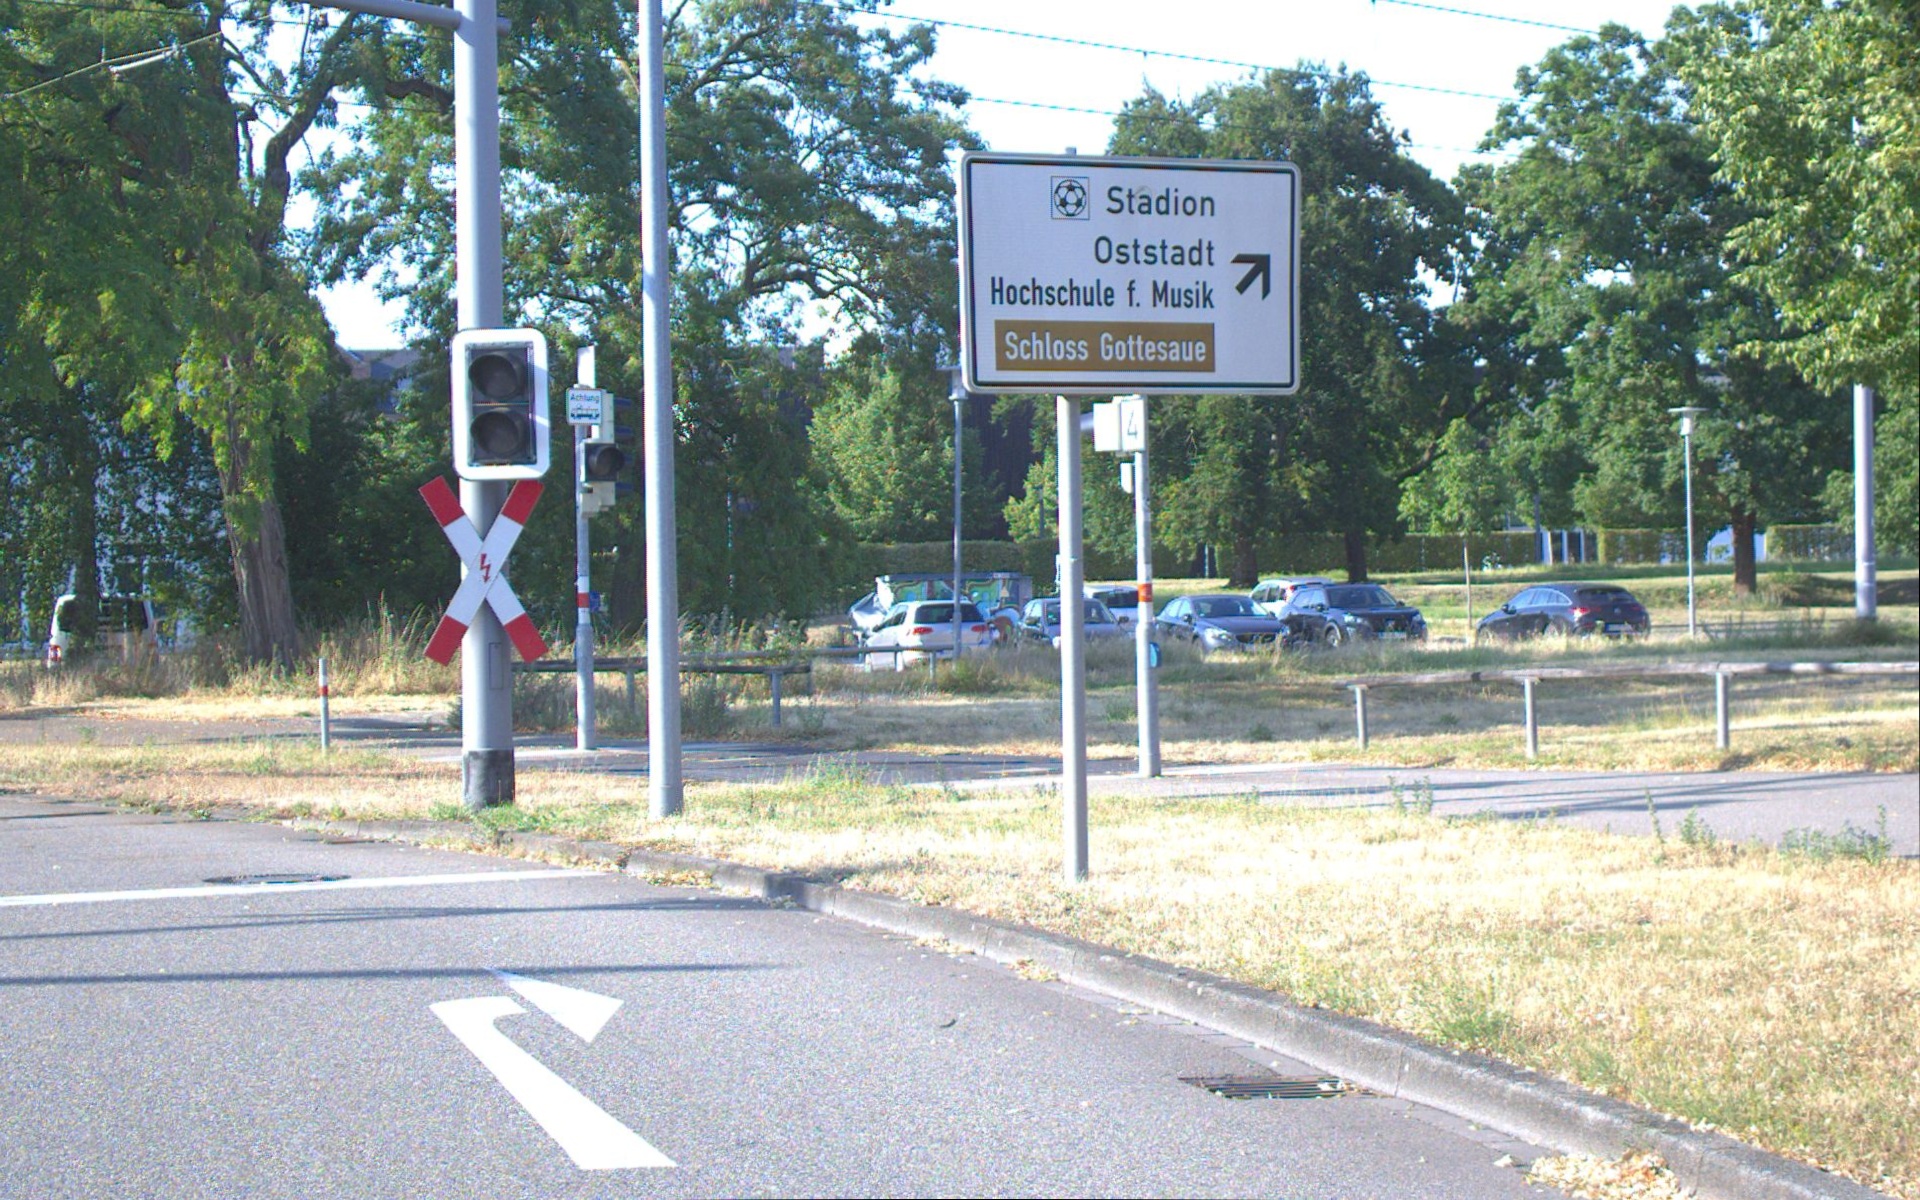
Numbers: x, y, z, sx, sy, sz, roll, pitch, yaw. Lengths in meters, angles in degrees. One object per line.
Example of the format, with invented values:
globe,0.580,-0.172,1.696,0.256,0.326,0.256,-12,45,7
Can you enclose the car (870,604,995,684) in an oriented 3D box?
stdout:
car,-0.535,0.800,63.437,1.601,1.397,3.969,-1,0,-11

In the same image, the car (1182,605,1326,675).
car,5.346,0.719,62.998,1.601,1.216,3.969,-1,0,-11

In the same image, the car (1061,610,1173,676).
car,3.450,0.940,76.323,1.601,1.397,3.969,-1,0,-11

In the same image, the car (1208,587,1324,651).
car,6.952,0.444,78.555,1.601,1.397,3.969,-1,0,-11

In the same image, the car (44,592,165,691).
car,-14.707,0.702,59.258,1.771,1.612,3.969,-1,0,-11

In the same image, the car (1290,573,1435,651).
car,7.572,0.233,65.002,1.601,1.397,3.969,-1,0,-11

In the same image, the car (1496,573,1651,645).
car,11.741,0.185,65.983,1.601,1.305,3.969,-1,0,-11

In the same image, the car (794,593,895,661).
car,-2.550,0.588,75.110,1.601,1.397,3.969,-1,0,-11
